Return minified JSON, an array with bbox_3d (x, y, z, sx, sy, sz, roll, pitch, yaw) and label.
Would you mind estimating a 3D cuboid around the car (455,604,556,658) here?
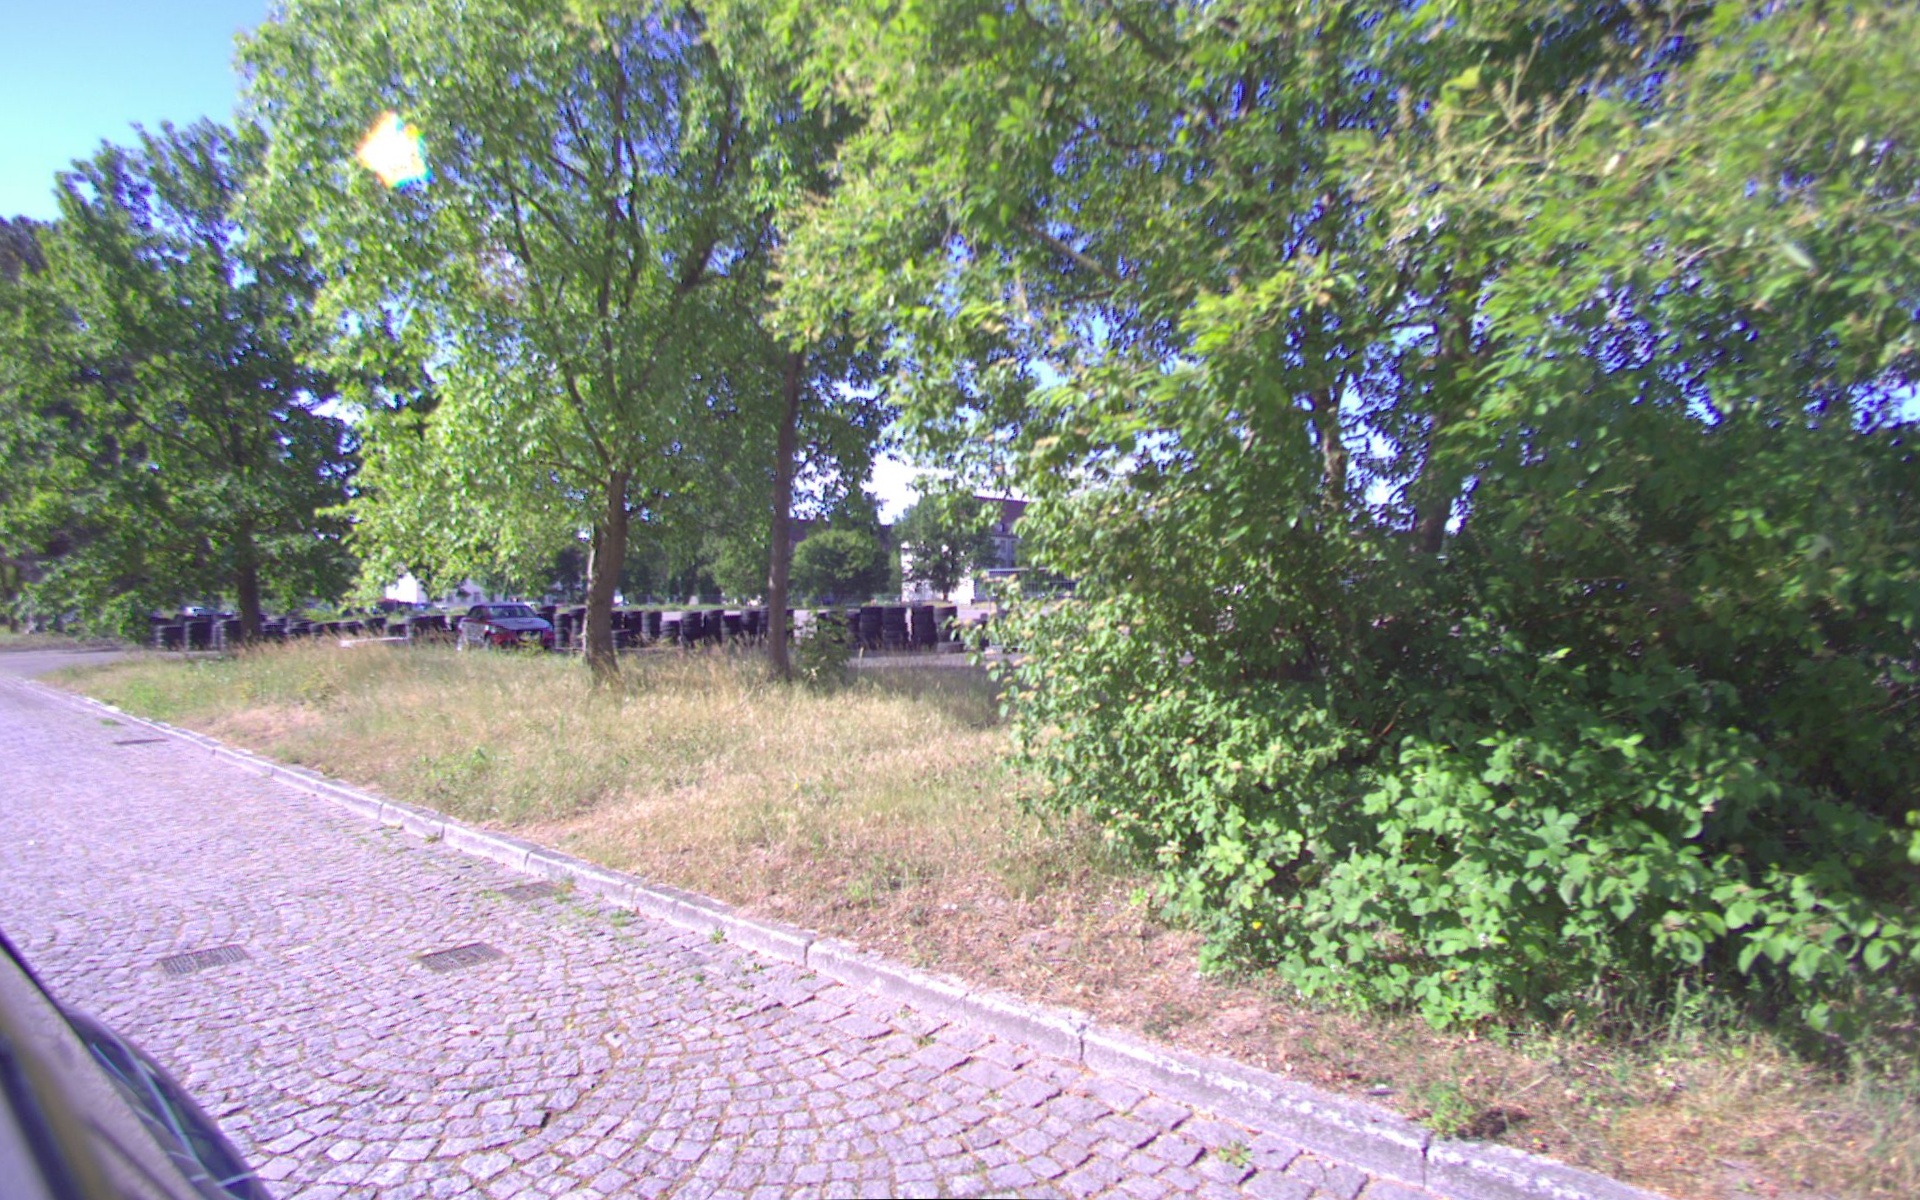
[{"bbox_3d":[-12.675,0.833,28.129,1.522,1.417,3.581,0,-1,-43],"label":"car"}]
